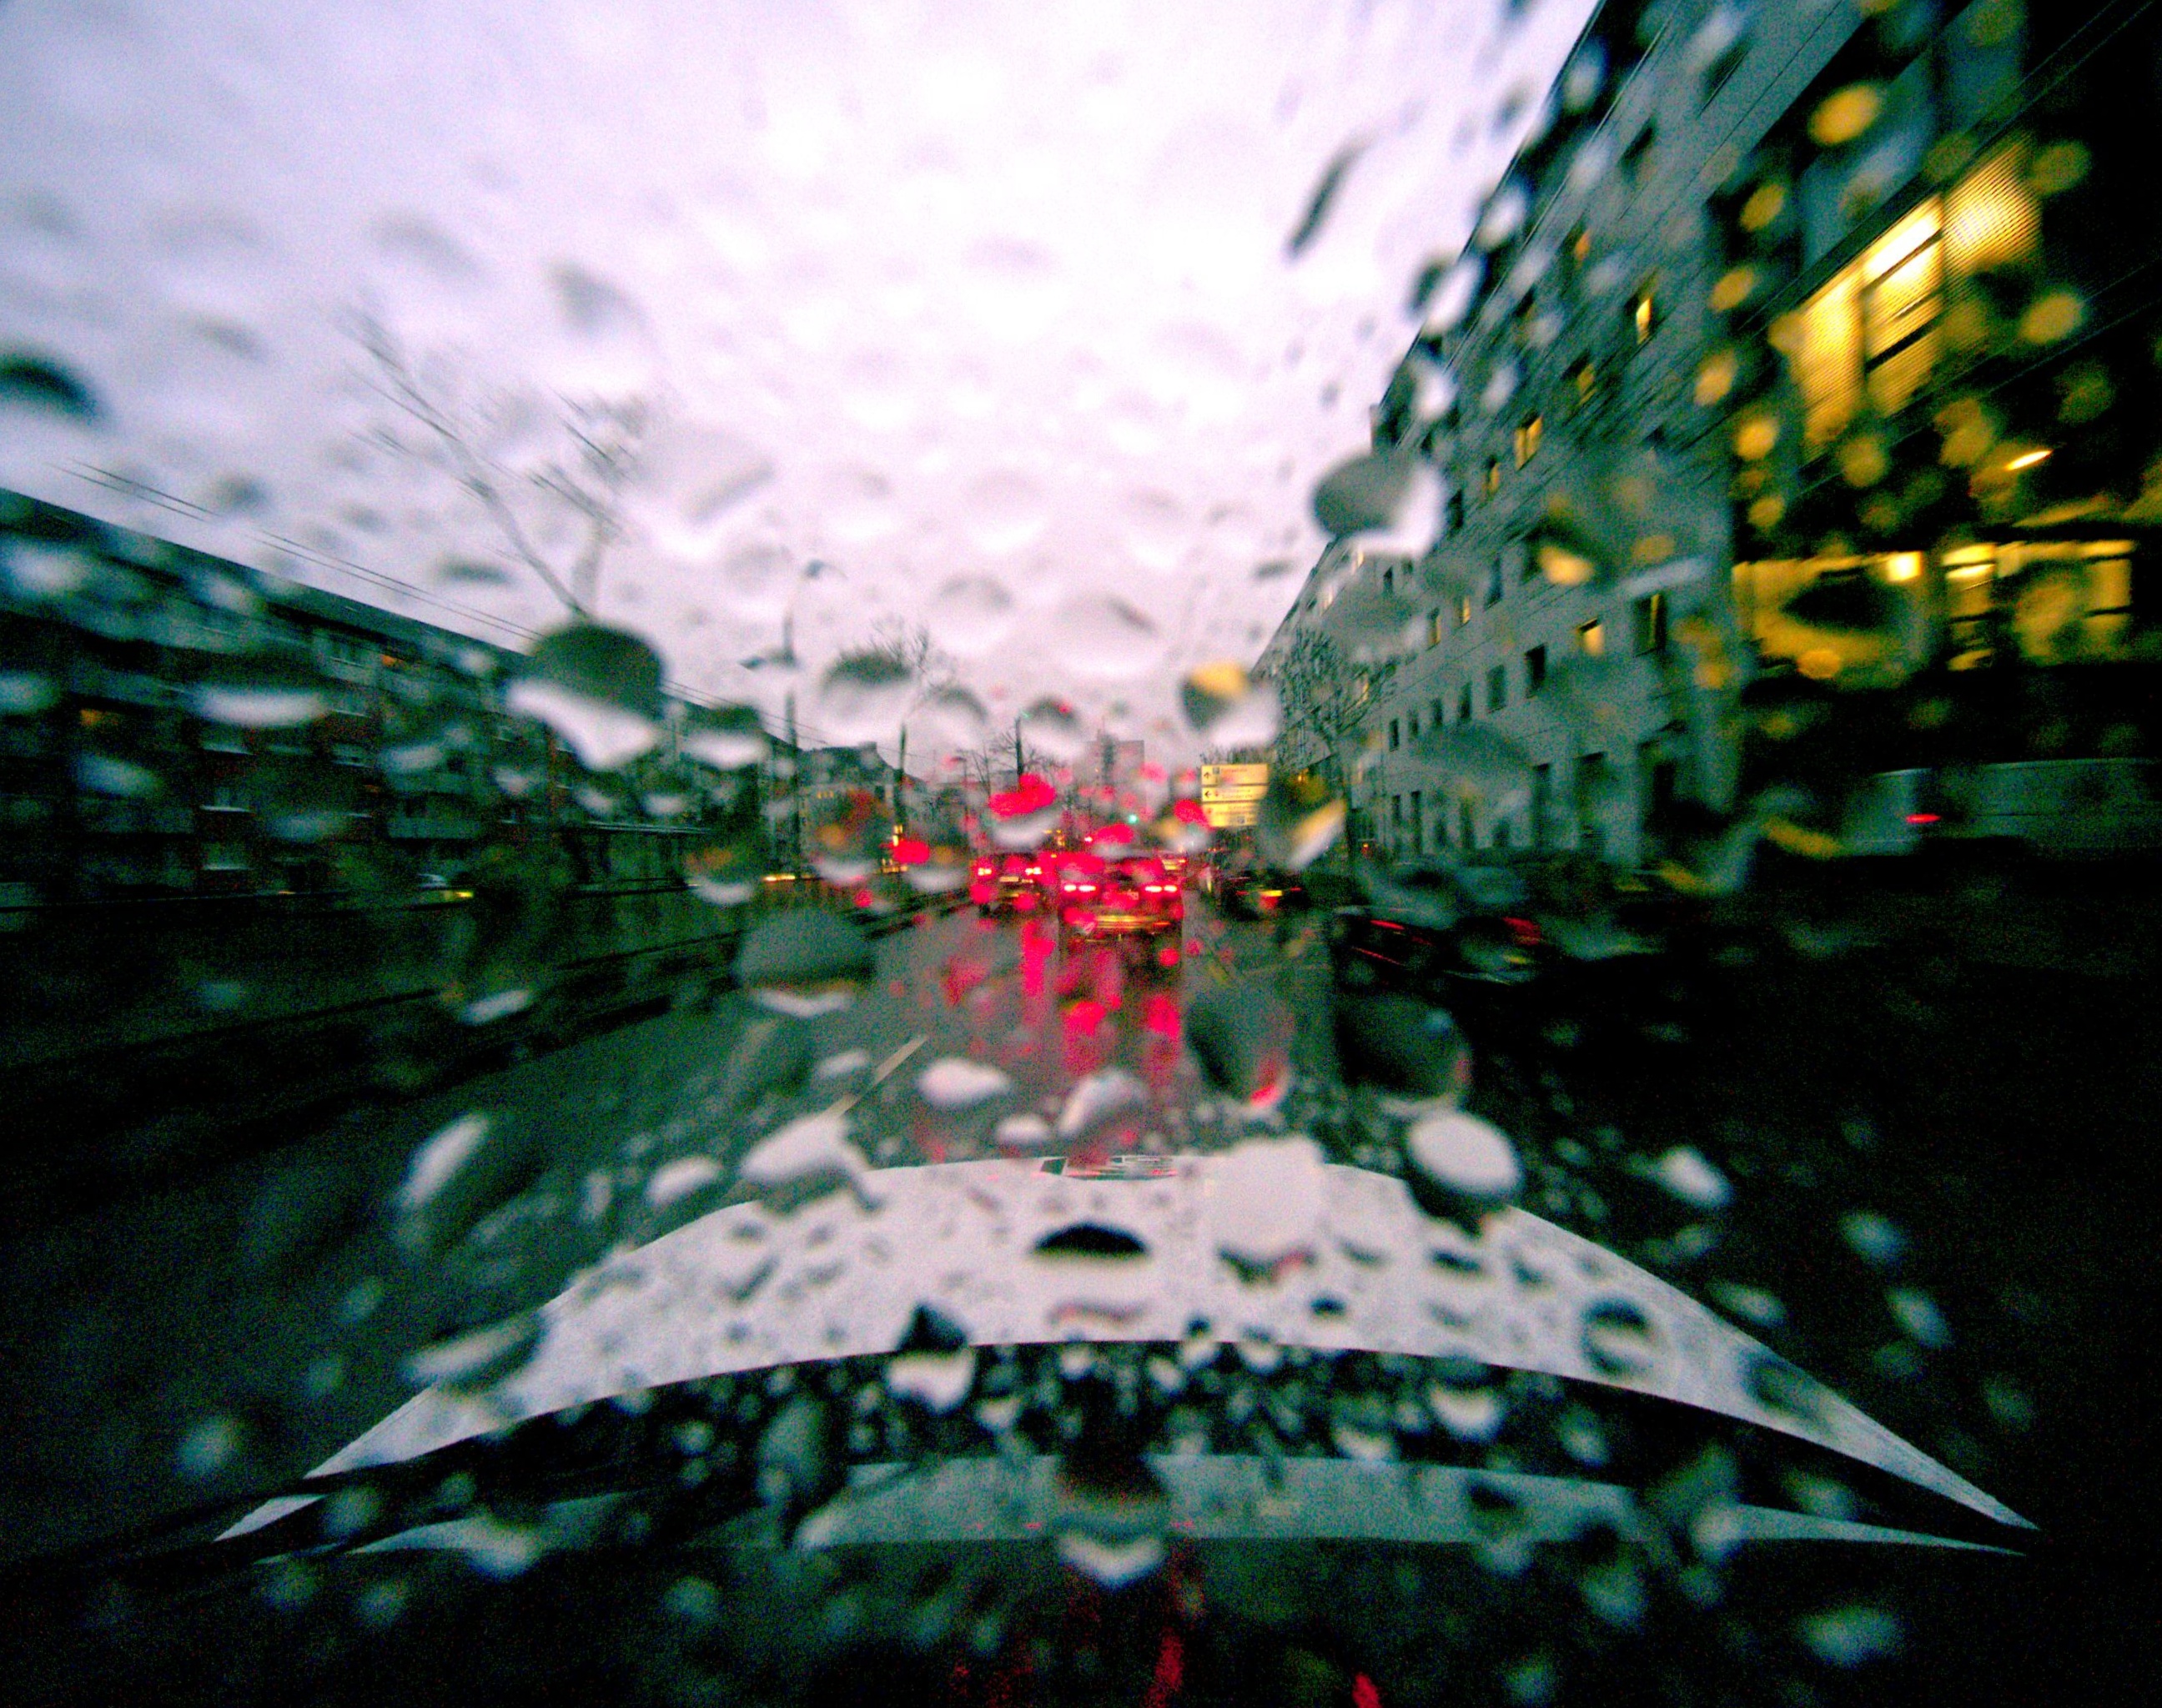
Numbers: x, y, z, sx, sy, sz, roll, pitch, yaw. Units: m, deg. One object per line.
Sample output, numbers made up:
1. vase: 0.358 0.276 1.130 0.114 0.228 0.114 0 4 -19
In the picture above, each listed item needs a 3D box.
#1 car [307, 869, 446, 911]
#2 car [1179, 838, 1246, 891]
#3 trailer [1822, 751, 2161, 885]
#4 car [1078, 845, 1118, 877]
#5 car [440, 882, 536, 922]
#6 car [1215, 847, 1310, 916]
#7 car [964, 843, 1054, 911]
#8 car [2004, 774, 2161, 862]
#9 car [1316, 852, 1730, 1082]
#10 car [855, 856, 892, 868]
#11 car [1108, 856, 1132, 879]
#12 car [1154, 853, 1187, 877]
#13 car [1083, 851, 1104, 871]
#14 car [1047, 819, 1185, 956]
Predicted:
1. car: -27.825 1.390 32.367 1.717 1.544 4.154 0 -1 3
2. car: 3.854 0.274 24.328 1.584 1.394 3.490 -3 0 3
3. trailer: 15.514 -0.569 13.078 5.038 1.911 2.136 -1 1 9
4. car: 0.964 0.375 44.313 1.985 1.642 4.026 0 -1 4
5. car: -23.727 1.882 32.711 1.329 1.425 3.321 0 -1 2
6. car: 4.118 0.559 19.048 1.745 1.403 4.258 0 1 7
7. car: -1.909 0.619 22.937 1.986 1.712 4.327 0 -1 2
8. car: 20.162 -0.709 15.018 3.962 1.518 1.662 -3 0 10
9. car: 3.389 0.740 7.251 1.589 1.440 4.232 0 -1 3
10. car: -23.981 0.915 94.131 3.787 1.366 1.697 0 -1 -1
11. car: 3.001 1.037 63.172 1.786 1.750 3.627 0 -1 3
12. car: 5.602 0.671 51.228 1.878 1.353 4.106 0 1 4
13. car: 1.394 0.742 88.700 1.943 2.033 4.889 -1 0 4
14. car: 0.546 0.508 13.815 1.986 1.976 4.069 0 -1 1
